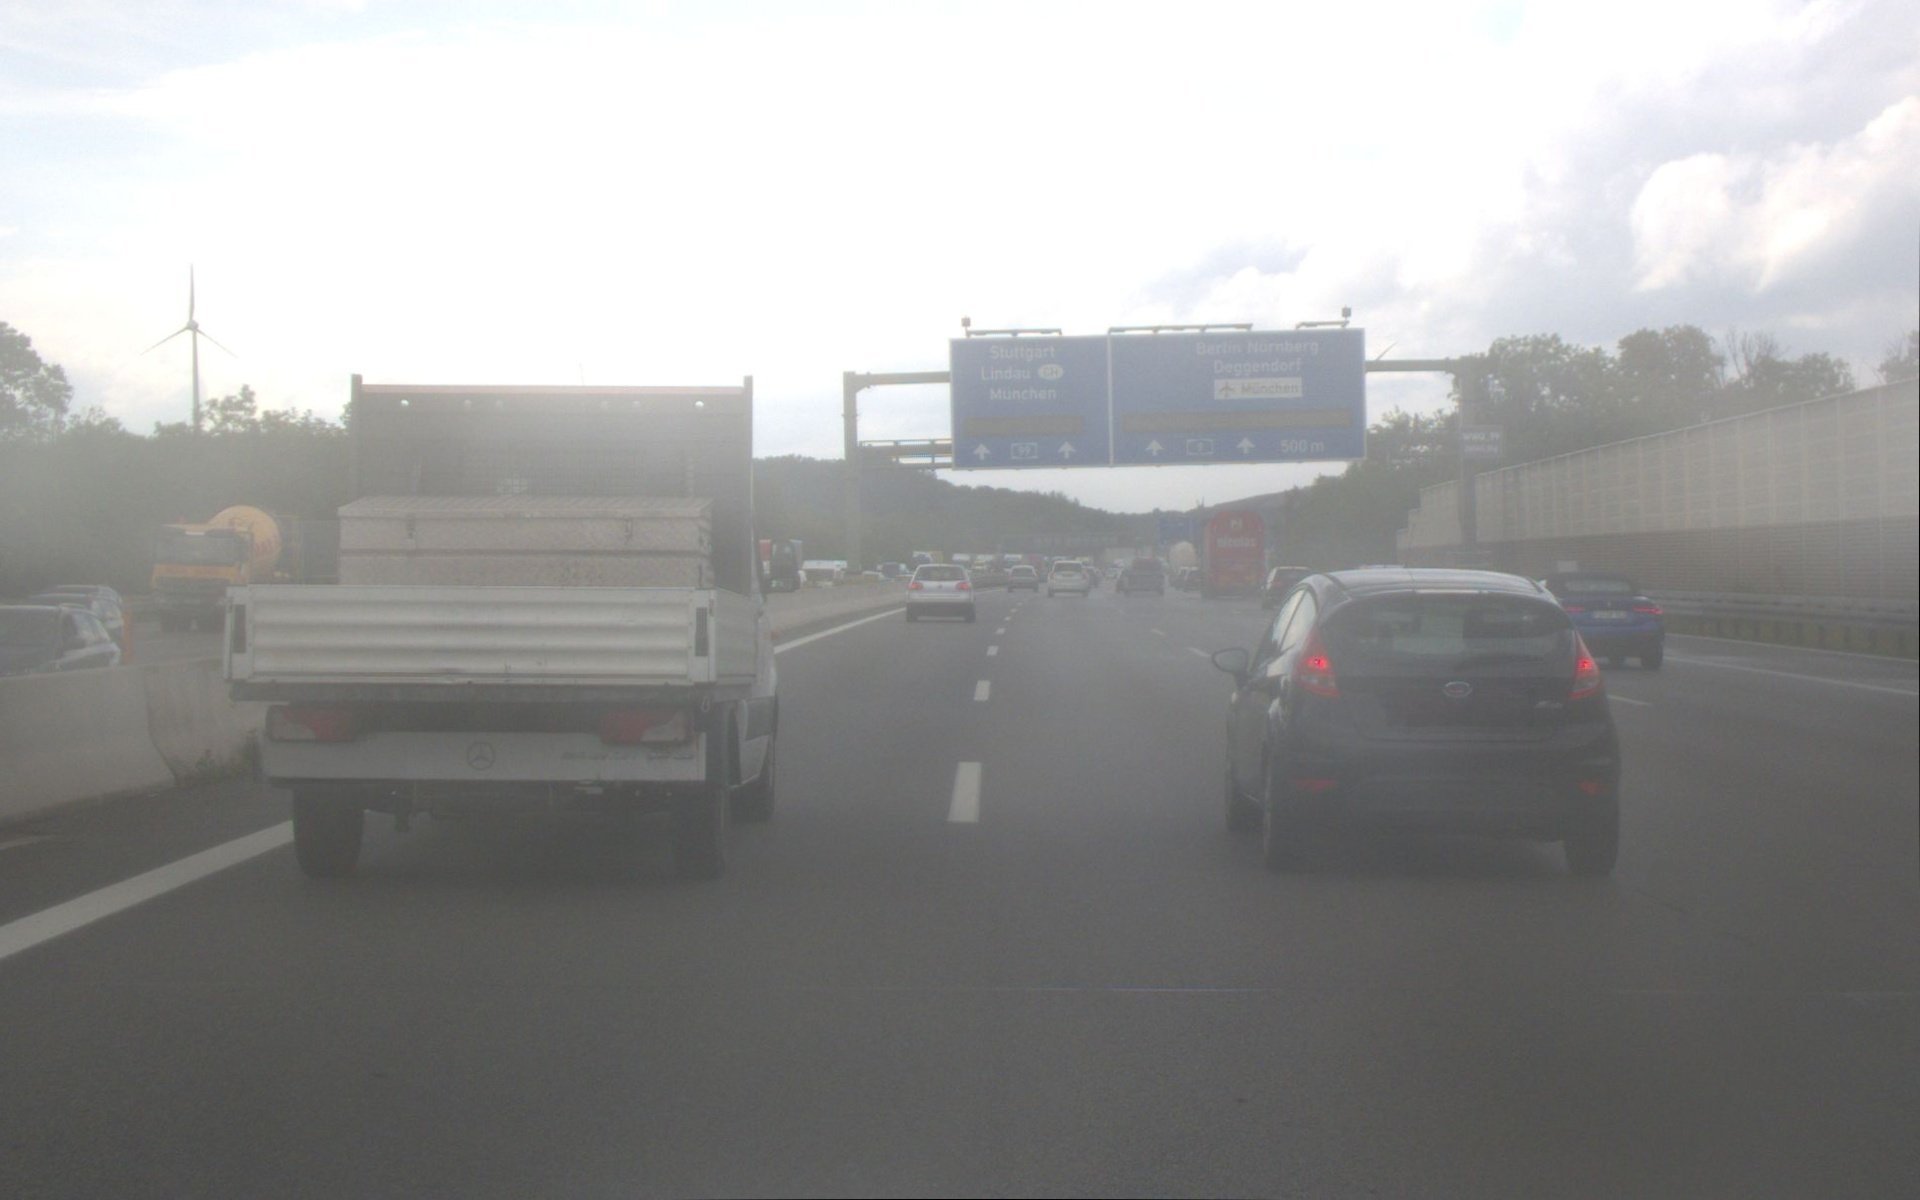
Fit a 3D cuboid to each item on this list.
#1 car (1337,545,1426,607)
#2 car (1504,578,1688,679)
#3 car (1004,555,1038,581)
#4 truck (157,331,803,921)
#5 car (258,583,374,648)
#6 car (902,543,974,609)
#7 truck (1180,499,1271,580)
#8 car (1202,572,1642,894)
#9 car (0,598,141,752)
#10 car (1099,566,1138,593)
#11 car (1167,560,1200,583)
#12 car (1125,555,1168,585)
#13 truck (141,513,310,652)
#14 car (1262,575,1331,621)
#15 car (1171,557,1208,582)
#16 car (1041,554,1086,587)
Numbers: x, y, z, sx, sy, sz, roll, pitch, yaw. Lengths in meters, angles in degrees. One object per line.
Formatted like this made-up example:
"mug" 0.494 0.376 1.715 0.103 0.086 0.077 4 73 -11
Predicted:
"car" 10.711 -0.610 87.538 1.883 1.537 4.433 -1 0 3
"car" 9.343 0.386 50.780 1.950 1.413 4.232 0 0 0
"car" 3.759 -1.940 211.444 1.968 1.555 4.433 -1 0 0
"truck" -2.159 0.025 17.837 2.307 2.431 7.149 0 1 0
"car" -15.067 0.343 80.618 1.723 1.423 4.519 1 0 1
"car" -0.543 -0.642 88.588 1.717 1.618 4.278 0 2 1
"truck" 12.446 -2.870 162.326 3.152 3.589 12.700 1 1 -1
"car" 2.229 0.581 17.623 1.717 1.412 4.278 0 1 1
"car" -11.130 0.828 40.465 1.723 1.640 4.993 1 0 0
"car" 9.407 -1.217 204.691 1.968 1.555 4.433 -1 0 -2
"car" 15.697 -2.007 241.995 1.968 1.555 4.433 -1 0 -1
"car" 9.883 -1.569 182.016 1.968 1.555 4.433 -1 0 -1
"truck" -22.201 -0.555 104.478 2.915 4.000 9.583 0 1 1
"car" 11.620 -0.086 118.898 1.882 1.555 4.433 -1 0 0
"car" 14.553 -1.925 217.843 1.968 1.555 4.433 -1 0 -1
"car" 4.980 -1.420 165.876 1.968 1.555 4.433 -1 0 0
